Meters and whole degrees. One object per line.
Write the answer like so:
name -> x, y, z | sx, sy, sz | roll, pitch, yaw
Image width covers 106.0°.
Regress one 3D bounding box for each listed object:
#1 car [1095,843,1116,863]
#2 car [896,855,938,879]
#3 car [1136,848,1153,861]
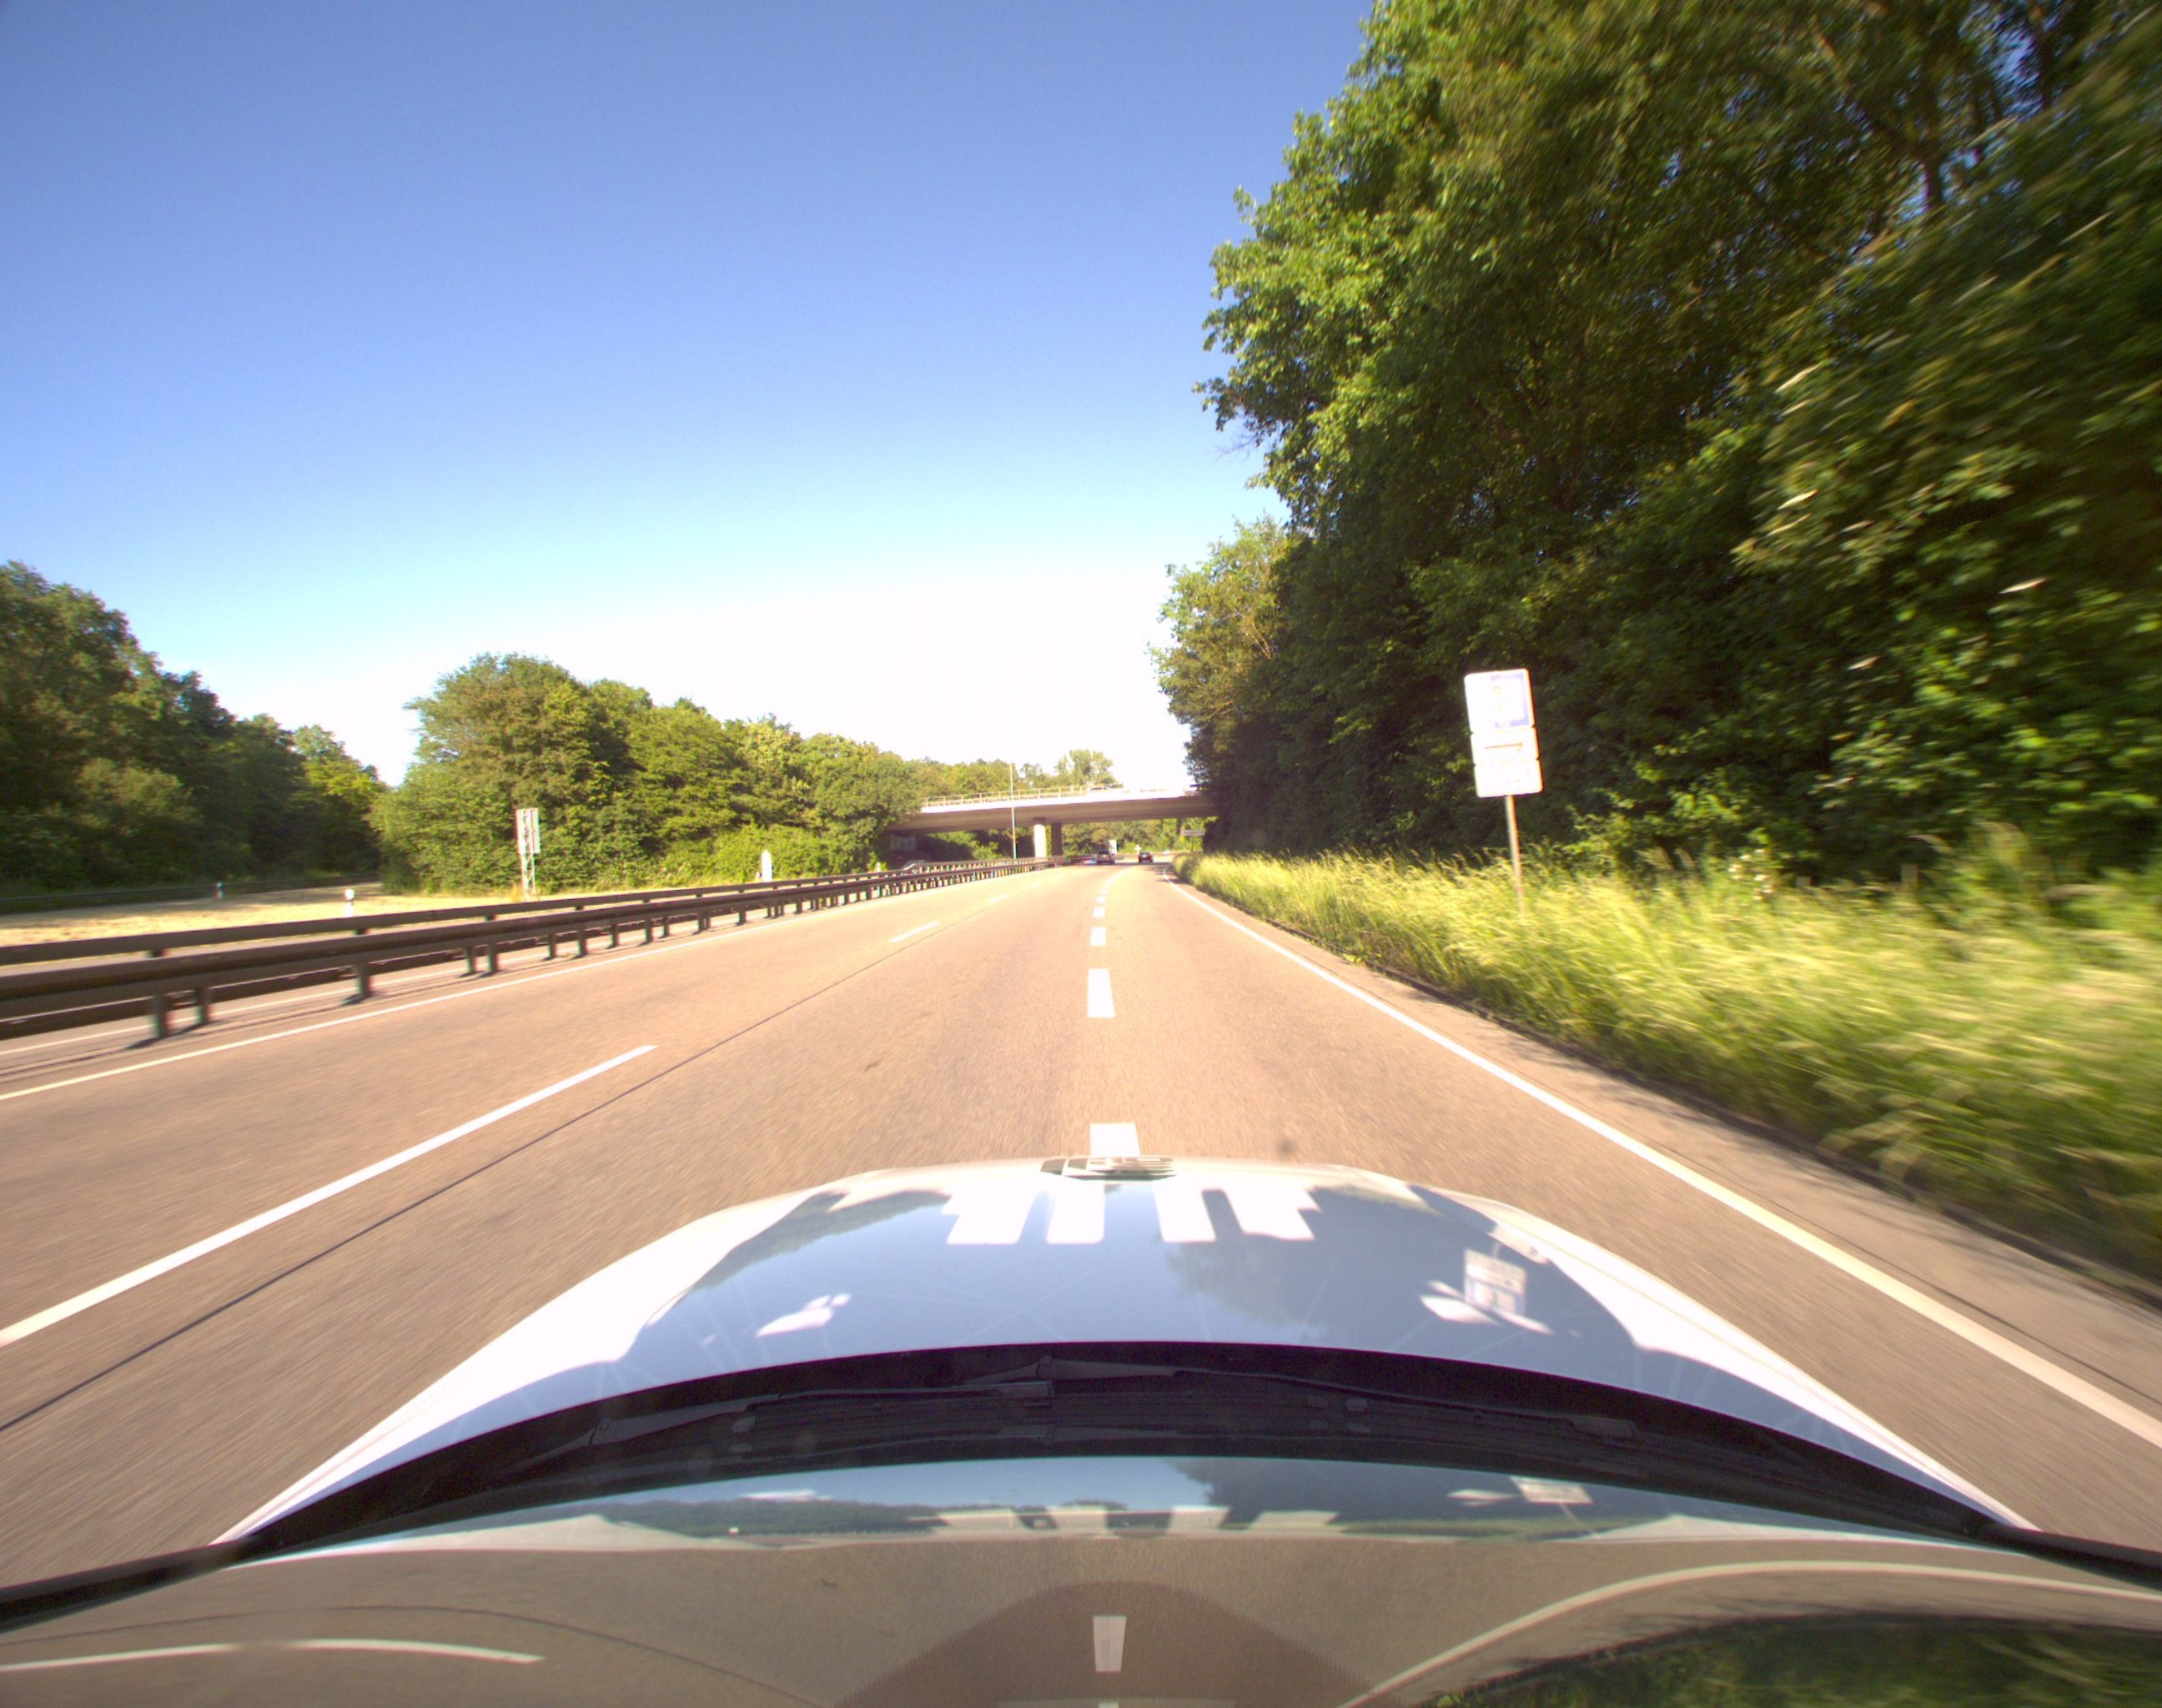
car -> 2.990, -0.135, 99.271 | 1.982, 2.277, 4.009 | -2, 0, 8
car -> -13.680, 1.051, 68.281 | 1.984, 1.848, 5.319 | -1, 0, 5
car -> 8.570, 0.050, 109.677 | 1.728, 1.662, 3.956 | -2, 0, 10
